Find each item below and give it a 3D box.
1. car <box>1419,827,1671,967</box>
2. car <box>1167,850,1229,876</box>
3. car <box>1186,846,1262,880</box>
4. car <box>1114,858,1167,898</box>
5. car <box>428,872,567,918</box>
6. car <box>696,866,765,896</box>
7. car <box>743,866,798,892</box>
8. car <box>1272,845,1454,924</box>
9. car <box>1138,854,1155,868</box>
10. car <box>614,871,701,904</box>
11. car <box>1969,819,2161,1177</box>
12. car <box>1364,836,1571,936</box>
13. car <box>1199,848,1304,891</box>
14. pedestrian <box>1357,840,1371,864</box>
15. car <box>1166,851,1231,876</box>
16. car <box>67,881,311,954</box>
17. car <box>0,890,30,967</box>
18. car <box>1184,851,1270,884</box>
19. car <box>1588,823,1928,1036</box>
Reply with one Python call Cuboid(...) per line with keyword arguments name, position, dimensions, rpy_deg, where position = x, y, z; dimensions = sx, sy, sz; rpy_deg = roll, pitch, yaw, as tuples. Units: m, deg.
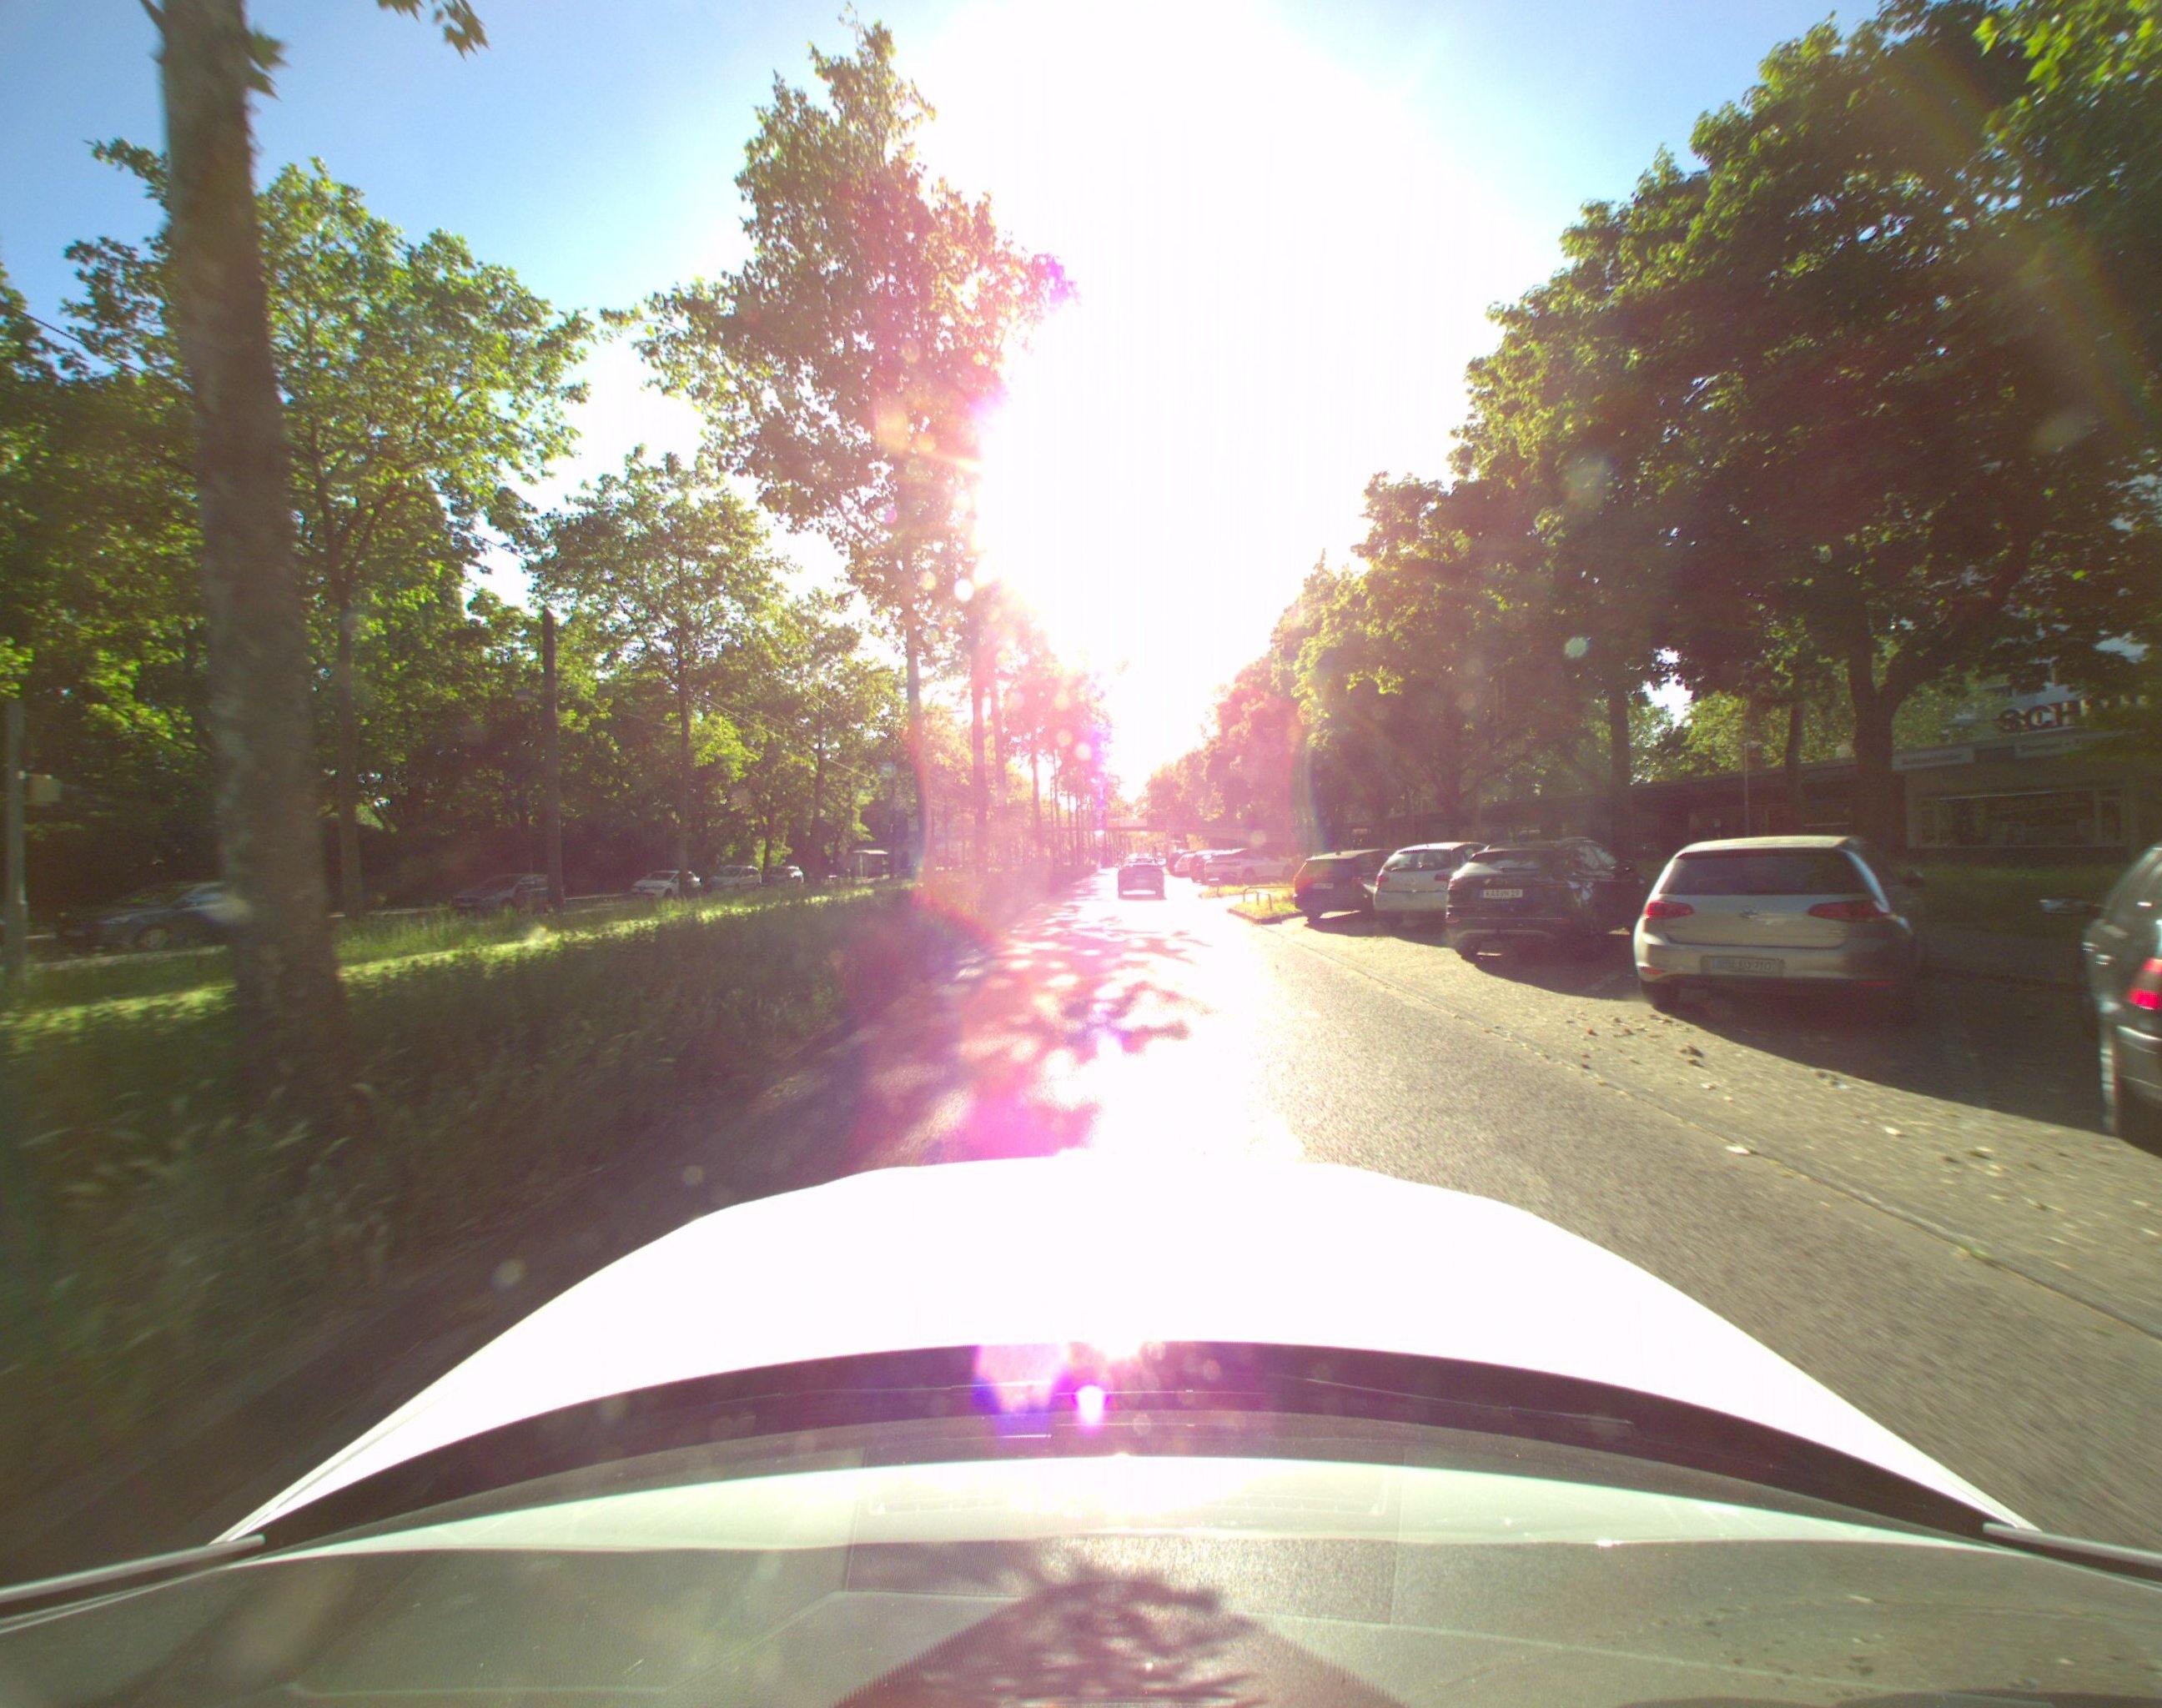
Cuboid(name="car", position=(6.865, 0.479, 11.795), dimensions=(4.651, 1.570, 1.834), rpy_deg=(-3, 0, -43))
Cuboid(name="car", position=(8.519, 0.618, 58.972), dimensions=(4.648, 1.768, 1.835), rpy_deg=(-1, 0, -41))
Cuboid(name="car", position=(8.051, 0.503, 45.485), dimensions=(1.833, 1.680, 4.638), rpy_deg=(-5, -2, 44))
Cuboid(name="car", position=(2.277, 0.886, 31.681), dimensions=(1.914, 1.411, 4.003), rpy_deg=(-1, 0, 3))
Cuboid(name="car", position=(-21.179, 1.430, 29.807), dimensions=(1.985, 1.453, 4.004), rpy_deg=(1, 0, 4))
Cuboid(name="car", position=(-20.429, 1.540, 47.710), dimensions=(1.985, 1.590, 4.172), rpy_deg=(1, 0, 4))
Cuboid(name="car", position=(-20.262, 1.594, 53.315), dimensions=(1.779, 1.590, 4.172), rpy_deg=(1, 0, 4))
Cuboid(name="car", position=(6.445, 0.608, 18.291), dimensions=(4.651, 1.459, 1.955), rpy_deg=(-2, 0, -44))
Cuboid(name="car", position=(8.305, 0.897, 103.369), dimensions=(1.985, 1.651, 4.003), rpy_deg=(-1, 0, 3))
Cuboid(name="car", position=(-20.780, 1.615, 40.167), dimensions=(1.985, 1.453, 4.004), rpy_deg=(1, 0, 4))
Cuboid(name="car", position=(6.502, 0.530, 4.529), dimensions=(4.485, 1.450, 1.897), rpy_deg=(-3, -1, -41))
Cuboid(name="car", position=(7.436, 0.512, 15.441), dimensions=(4.650, 1.570, 1.834), rpy_deg=(-2, 0, -42))
Cuboid(name="car", position=(7.167, 0.600, 34.006), dimensions=(4.648, 1.680, 1.835), rpy_deg=(-1, 0, -41))
Cuboid(name="pedestrian", position=(23.778, -0.177, 68.332), dimensions=(0.826, 2.013, 0.742), rpy_deg=(-1, -1, -39))
Cuboid(name="car", position=(8.110, 0.632, 56.024), dimensions=(4.648, 1.680, 1.835), rpy_deg=(-1, 0, -41))
Cuboid(name="car", position=(-21.480, 1.472, 19.845), dimensions=(1.864, 1.453, 3.578), rpy_deg=(1, 0, 4))
Cuboid(name="car", position=(-21.926, 1.452, 14.453), dimensions=(1.638, 1.453, 3.667), rpy_deg=(1, 0, 4))
Cuboid(name="car", position=(7.549, 0.675, 41.868), dimensions=(4.649, 1.521, 1.835), rpy_deg=(-2, 0, -41))
Cuboid(name="car", position=(6.715, 0.515, 7.874), dimensions=(4.487, 1.450, 1.896), rpy_deg=(-2, -1, -43))
